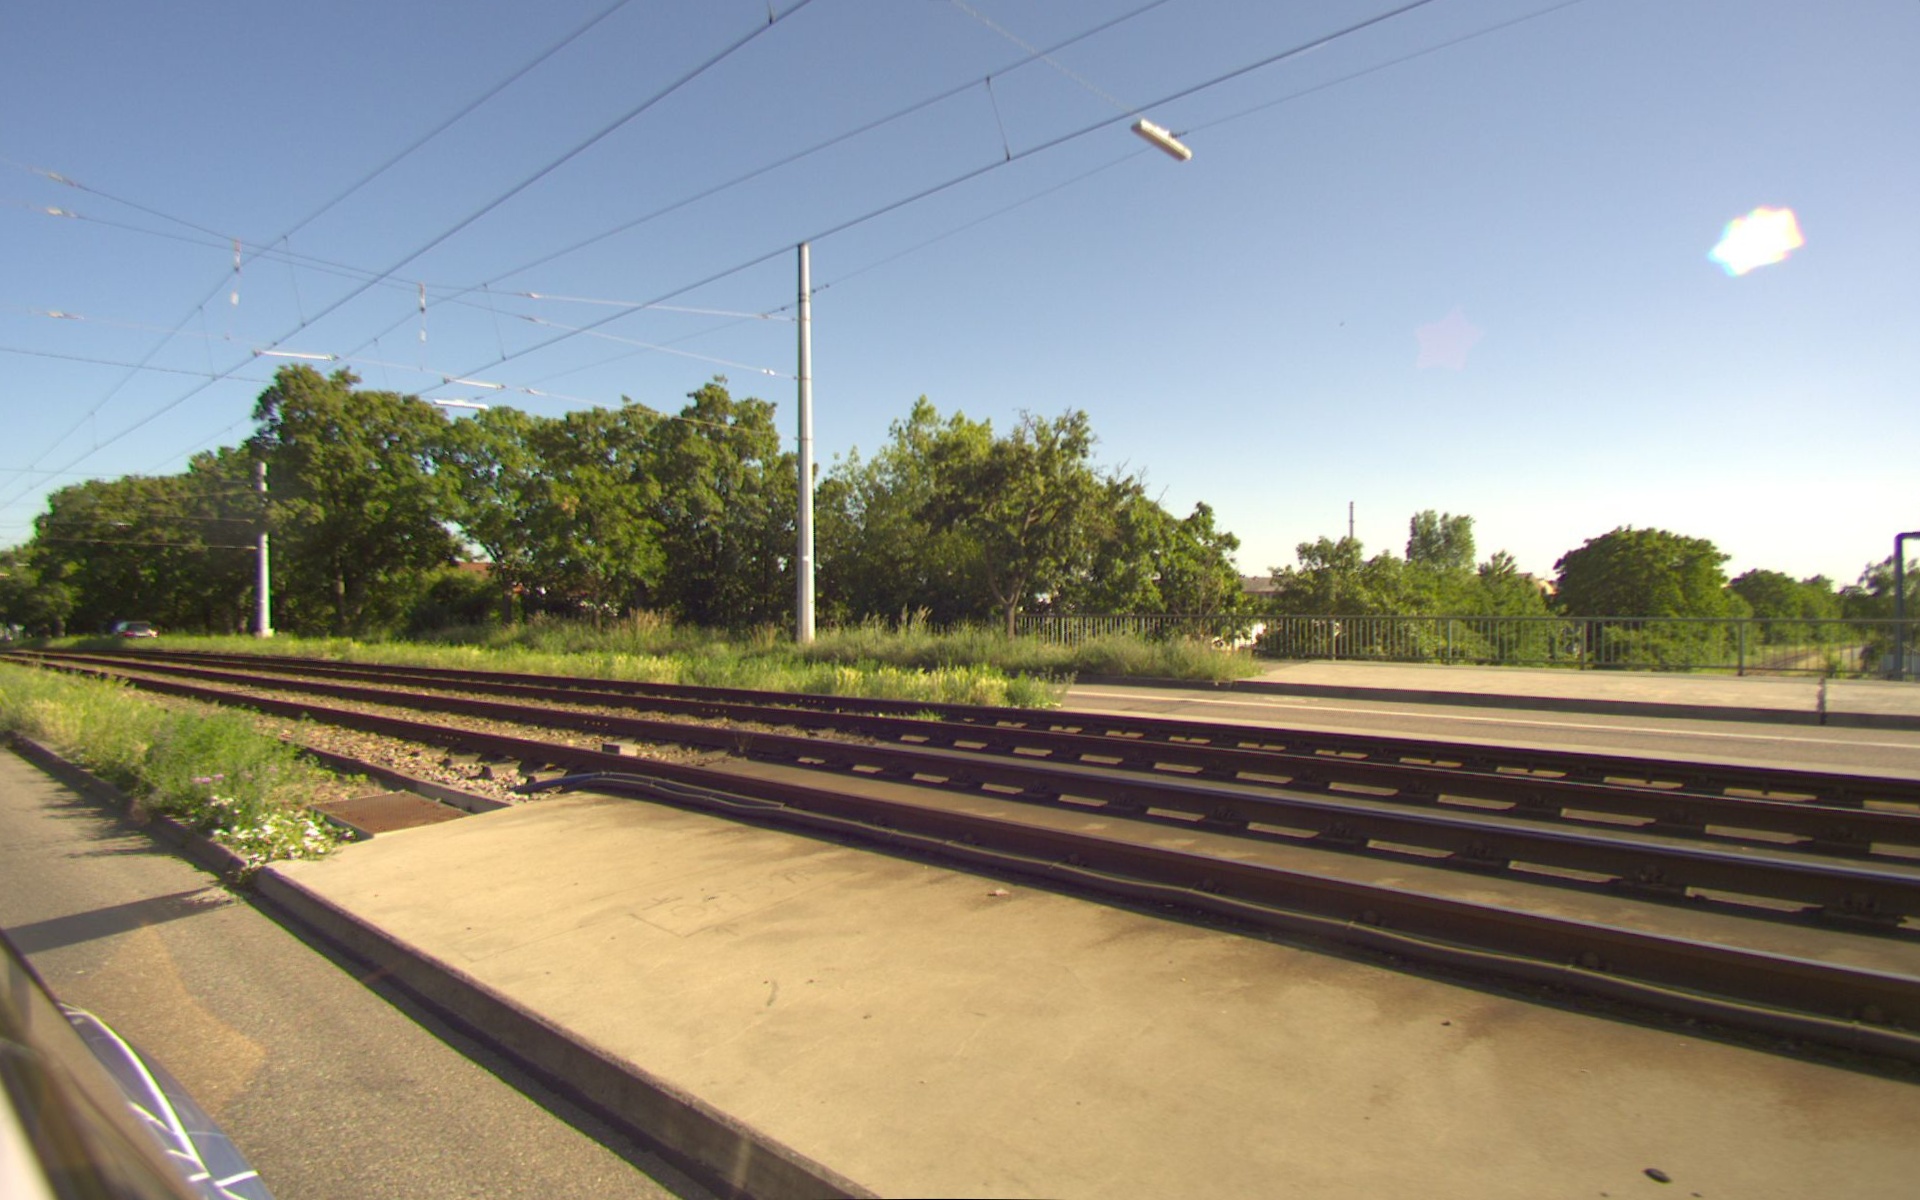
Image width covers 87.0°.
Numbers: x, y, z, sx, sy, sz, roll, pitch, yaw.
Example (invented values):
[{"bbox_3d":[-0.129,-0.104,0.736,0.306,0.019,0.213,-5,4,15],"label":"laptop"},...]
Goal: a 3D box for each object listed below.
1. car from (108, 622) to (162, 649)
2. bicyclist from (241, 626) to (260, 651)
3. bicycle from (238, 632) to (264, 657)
[{"bbox_3d":[-49.449,2.139,60.647,4.405,1.500,1.790,-2,0,42],"label":"car"},{"bbox_3d":[-37.600,2.043,53.607,0.987,1.320,0.576,-3,0,42],"label":"bicyclist"},{"bbox_3d":[-37.508,2.356,53.533,2.426,1.271,0.583,-2,0,42],"label":"bicycle"}]
